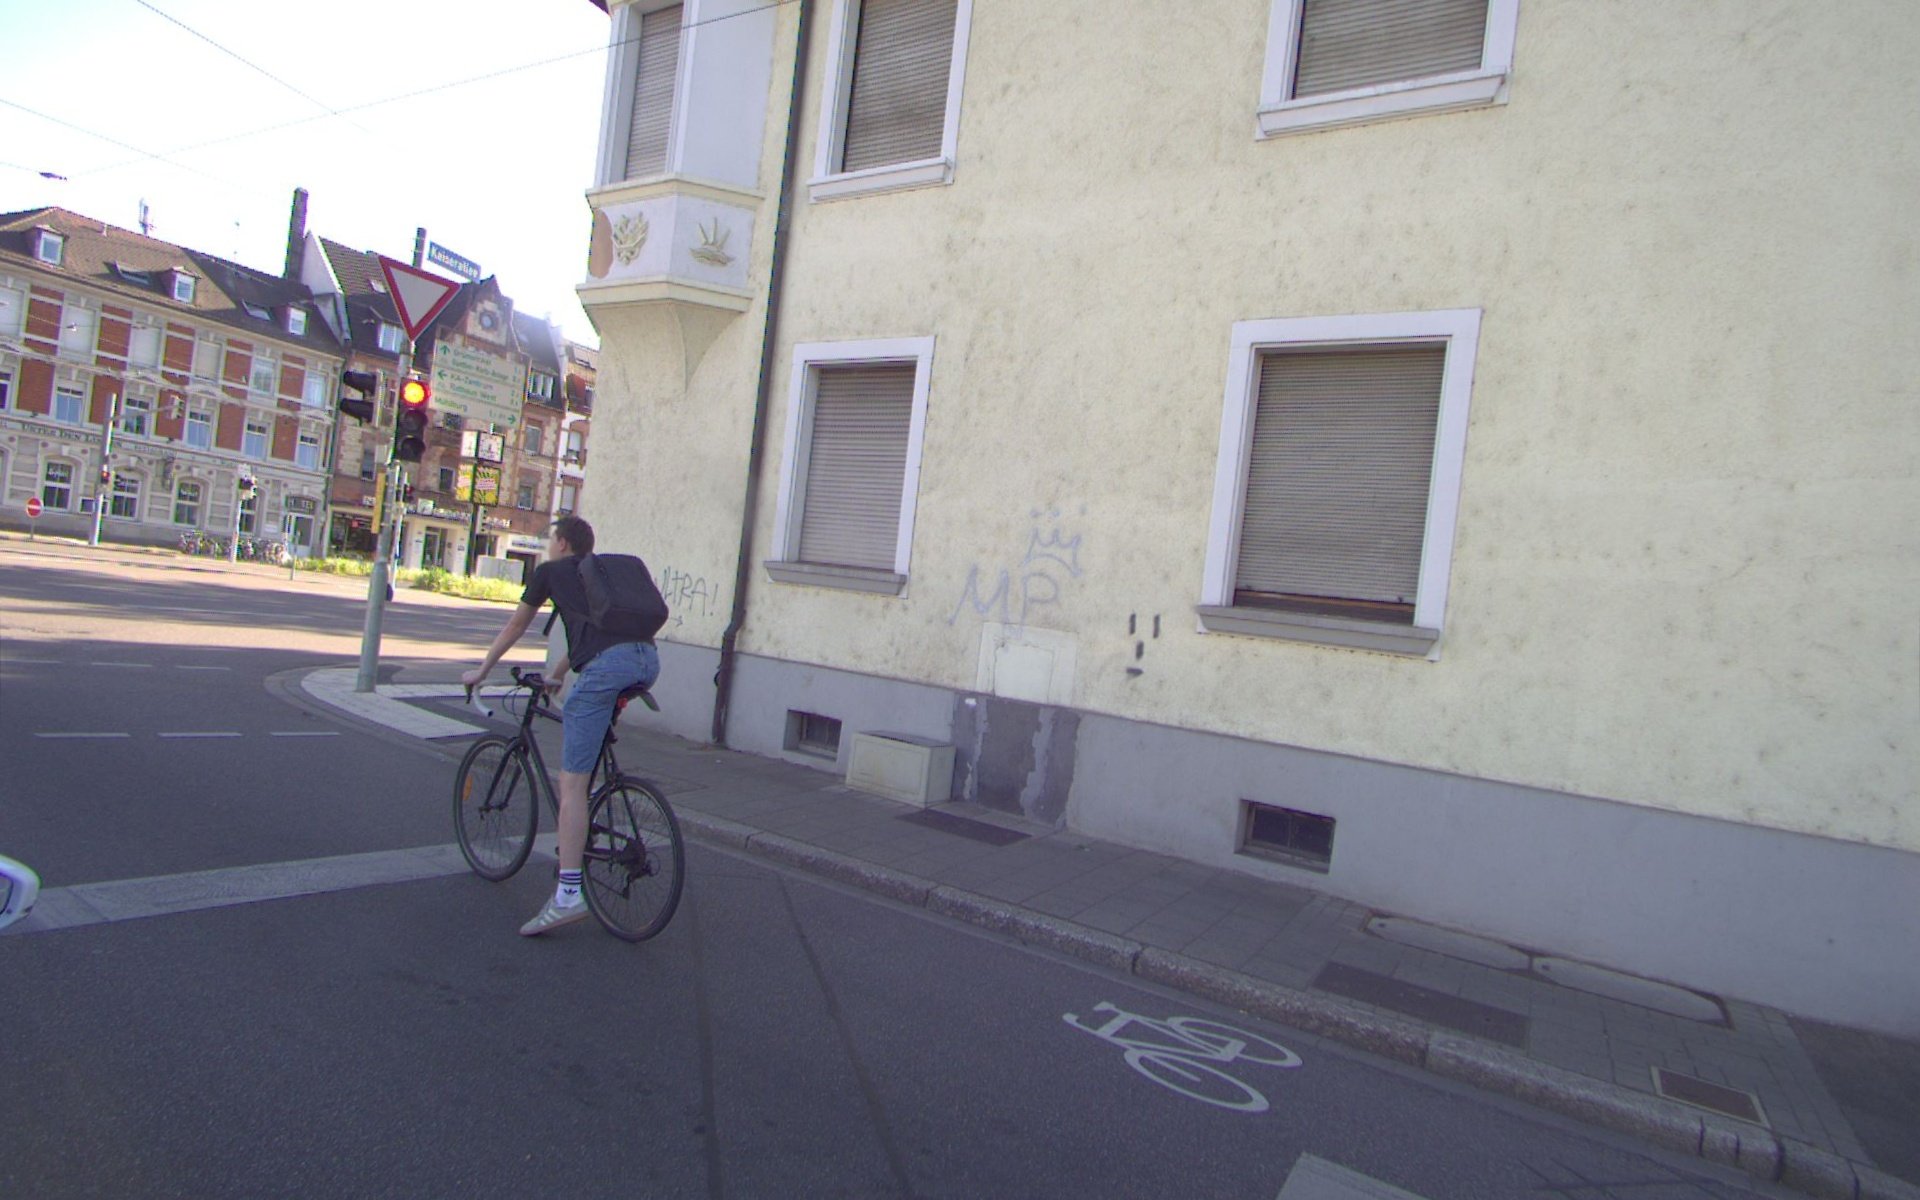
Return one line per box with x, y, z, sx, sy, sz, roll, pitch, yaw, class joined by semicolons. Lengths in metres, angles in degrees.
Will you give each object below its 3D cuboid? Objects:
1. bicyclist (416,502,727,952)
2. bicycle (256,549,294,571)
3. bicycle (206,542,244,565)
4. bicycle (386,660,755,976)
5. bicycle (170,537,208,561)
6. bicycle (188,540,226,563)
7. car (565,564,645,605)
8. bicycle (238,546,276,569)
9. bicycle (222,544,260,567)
-1.735;0.494;4.475;1.098;1.722;0.573;7;0;32;bicyclist
-33.089;-1.939;48.591;2.125;0.850;0.659;6;-2;33;bicycle
-34.167;-2.154;46.759;2.125;0.850;0.659;6;-2;33;bicycle
-1.783;0.878;4.496;1.721;0.982;0.519;7;0;32;bicycle
-34.857;-2.296;45.471;2.125;0.850;0.659;6;-2;33;bicycle
-34.541;-2.228;46.138;2.125;0.850;0.659;6;-2;33;bicycle
-22.997;-0.997;65.316;1.968;2.038;4.430;7;-1;34;car
-33.477;-2.018;47.886;2.125;0.850;0.659;6;-2;33;bicycle
-33.833;-2.086;47.356;2.125;0.850;0.659;6;-2;33;bicycle
